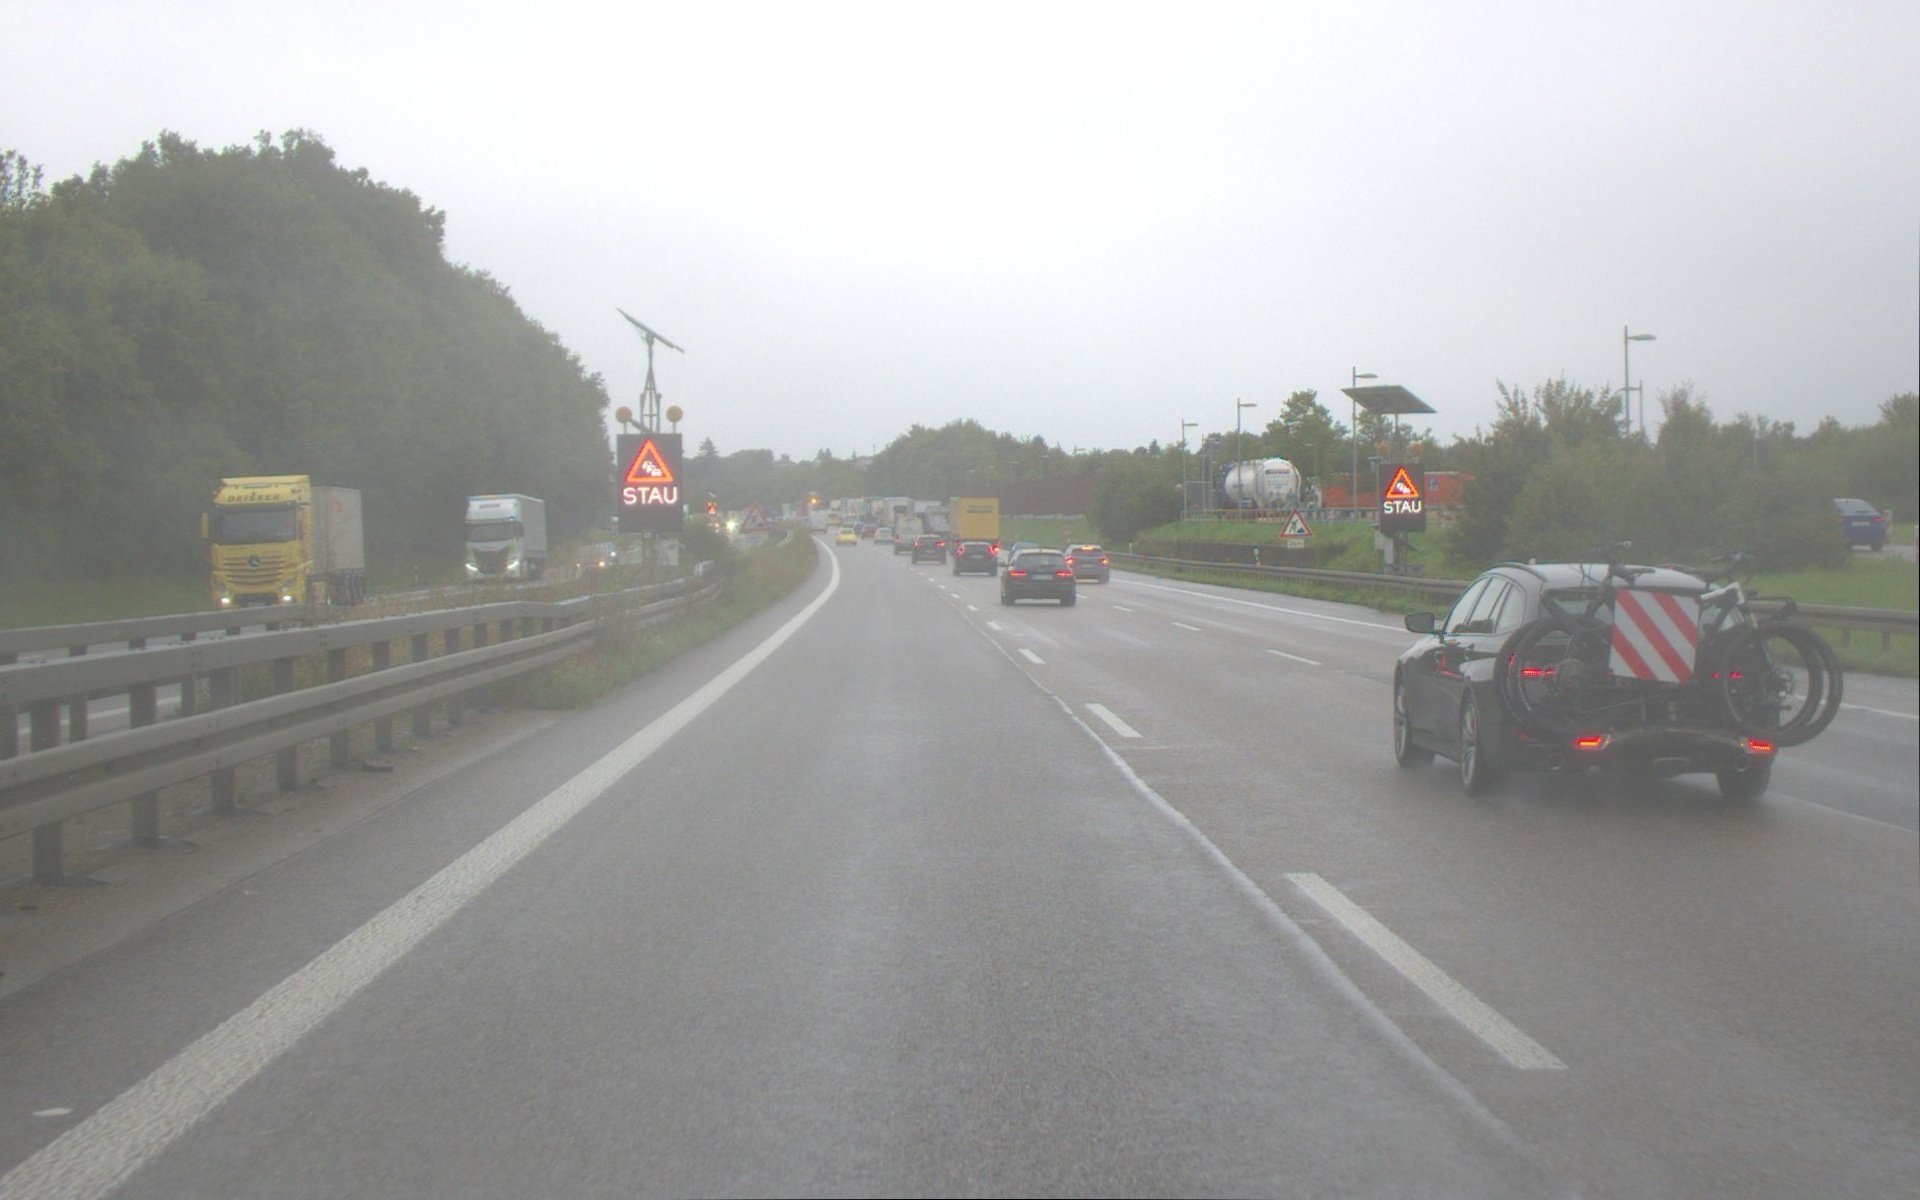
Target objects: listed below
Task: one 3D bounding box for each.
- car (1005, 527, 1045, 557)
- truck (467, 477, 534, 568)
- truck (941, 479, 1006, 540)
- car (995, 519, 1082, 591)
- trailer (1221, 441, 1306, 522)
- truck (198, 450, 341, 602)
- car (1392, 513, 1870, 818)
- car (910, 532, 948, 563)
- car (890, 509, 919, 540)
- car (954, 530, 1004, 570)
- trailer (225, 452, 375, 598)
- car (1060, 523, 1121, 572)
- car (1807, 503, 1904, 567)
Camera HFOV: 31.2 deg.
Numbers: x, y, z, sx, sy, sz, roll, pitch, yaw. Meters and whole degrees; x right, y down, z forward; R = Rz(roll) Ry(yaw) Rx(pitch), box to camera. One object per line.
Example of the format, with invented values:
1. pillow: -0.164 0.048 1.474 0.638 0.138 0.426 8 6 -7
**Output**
1. car: 3.548 -3.183 187.997 1.993 1.623 4.001 -1 1 -2
2. truck: -21.723 -3.669 162.578 2.643 4.222 4.000 -1 1 -1
3. truck: 0.829 -6.098 232.777 3.924 3.967 12.241 -1 1 -2
4. car: 1.976 -1.176 87.729 1.993 1.755 4.001 -1 1 -2
5. trailer: 16.244 -6.325 185.031 2.985 4.142 12.958 -1 1 -2
6. truck: -19.475 -2.094 97.277 2.762 4.041 6.157 -2 1 -1
7. car: 4.062 0.346 21.816 2.058 1.665 5.521 1 0 1
8. car: -1.734 -2.956 192.684 1.993 1.623 4.001 -1 1 -2
9. car: -3.942 -5.379 244.795 1.993 2.197 4.001 -1 1 -2
10. car: 0.826 -2.183 149.303 1.993 1.623 4.001 -1 1 -2
11. trailer: -19.649 -2.250 102.861 2.762 4.041 9.201 -2 1 -1
12. car: 4.924 -2.005 130.137 1.993 1.755 4.001 -1 1 -2
13. car: 24.792 -1.796 95.289 1.922 1.703 3.999 -1 1 5
